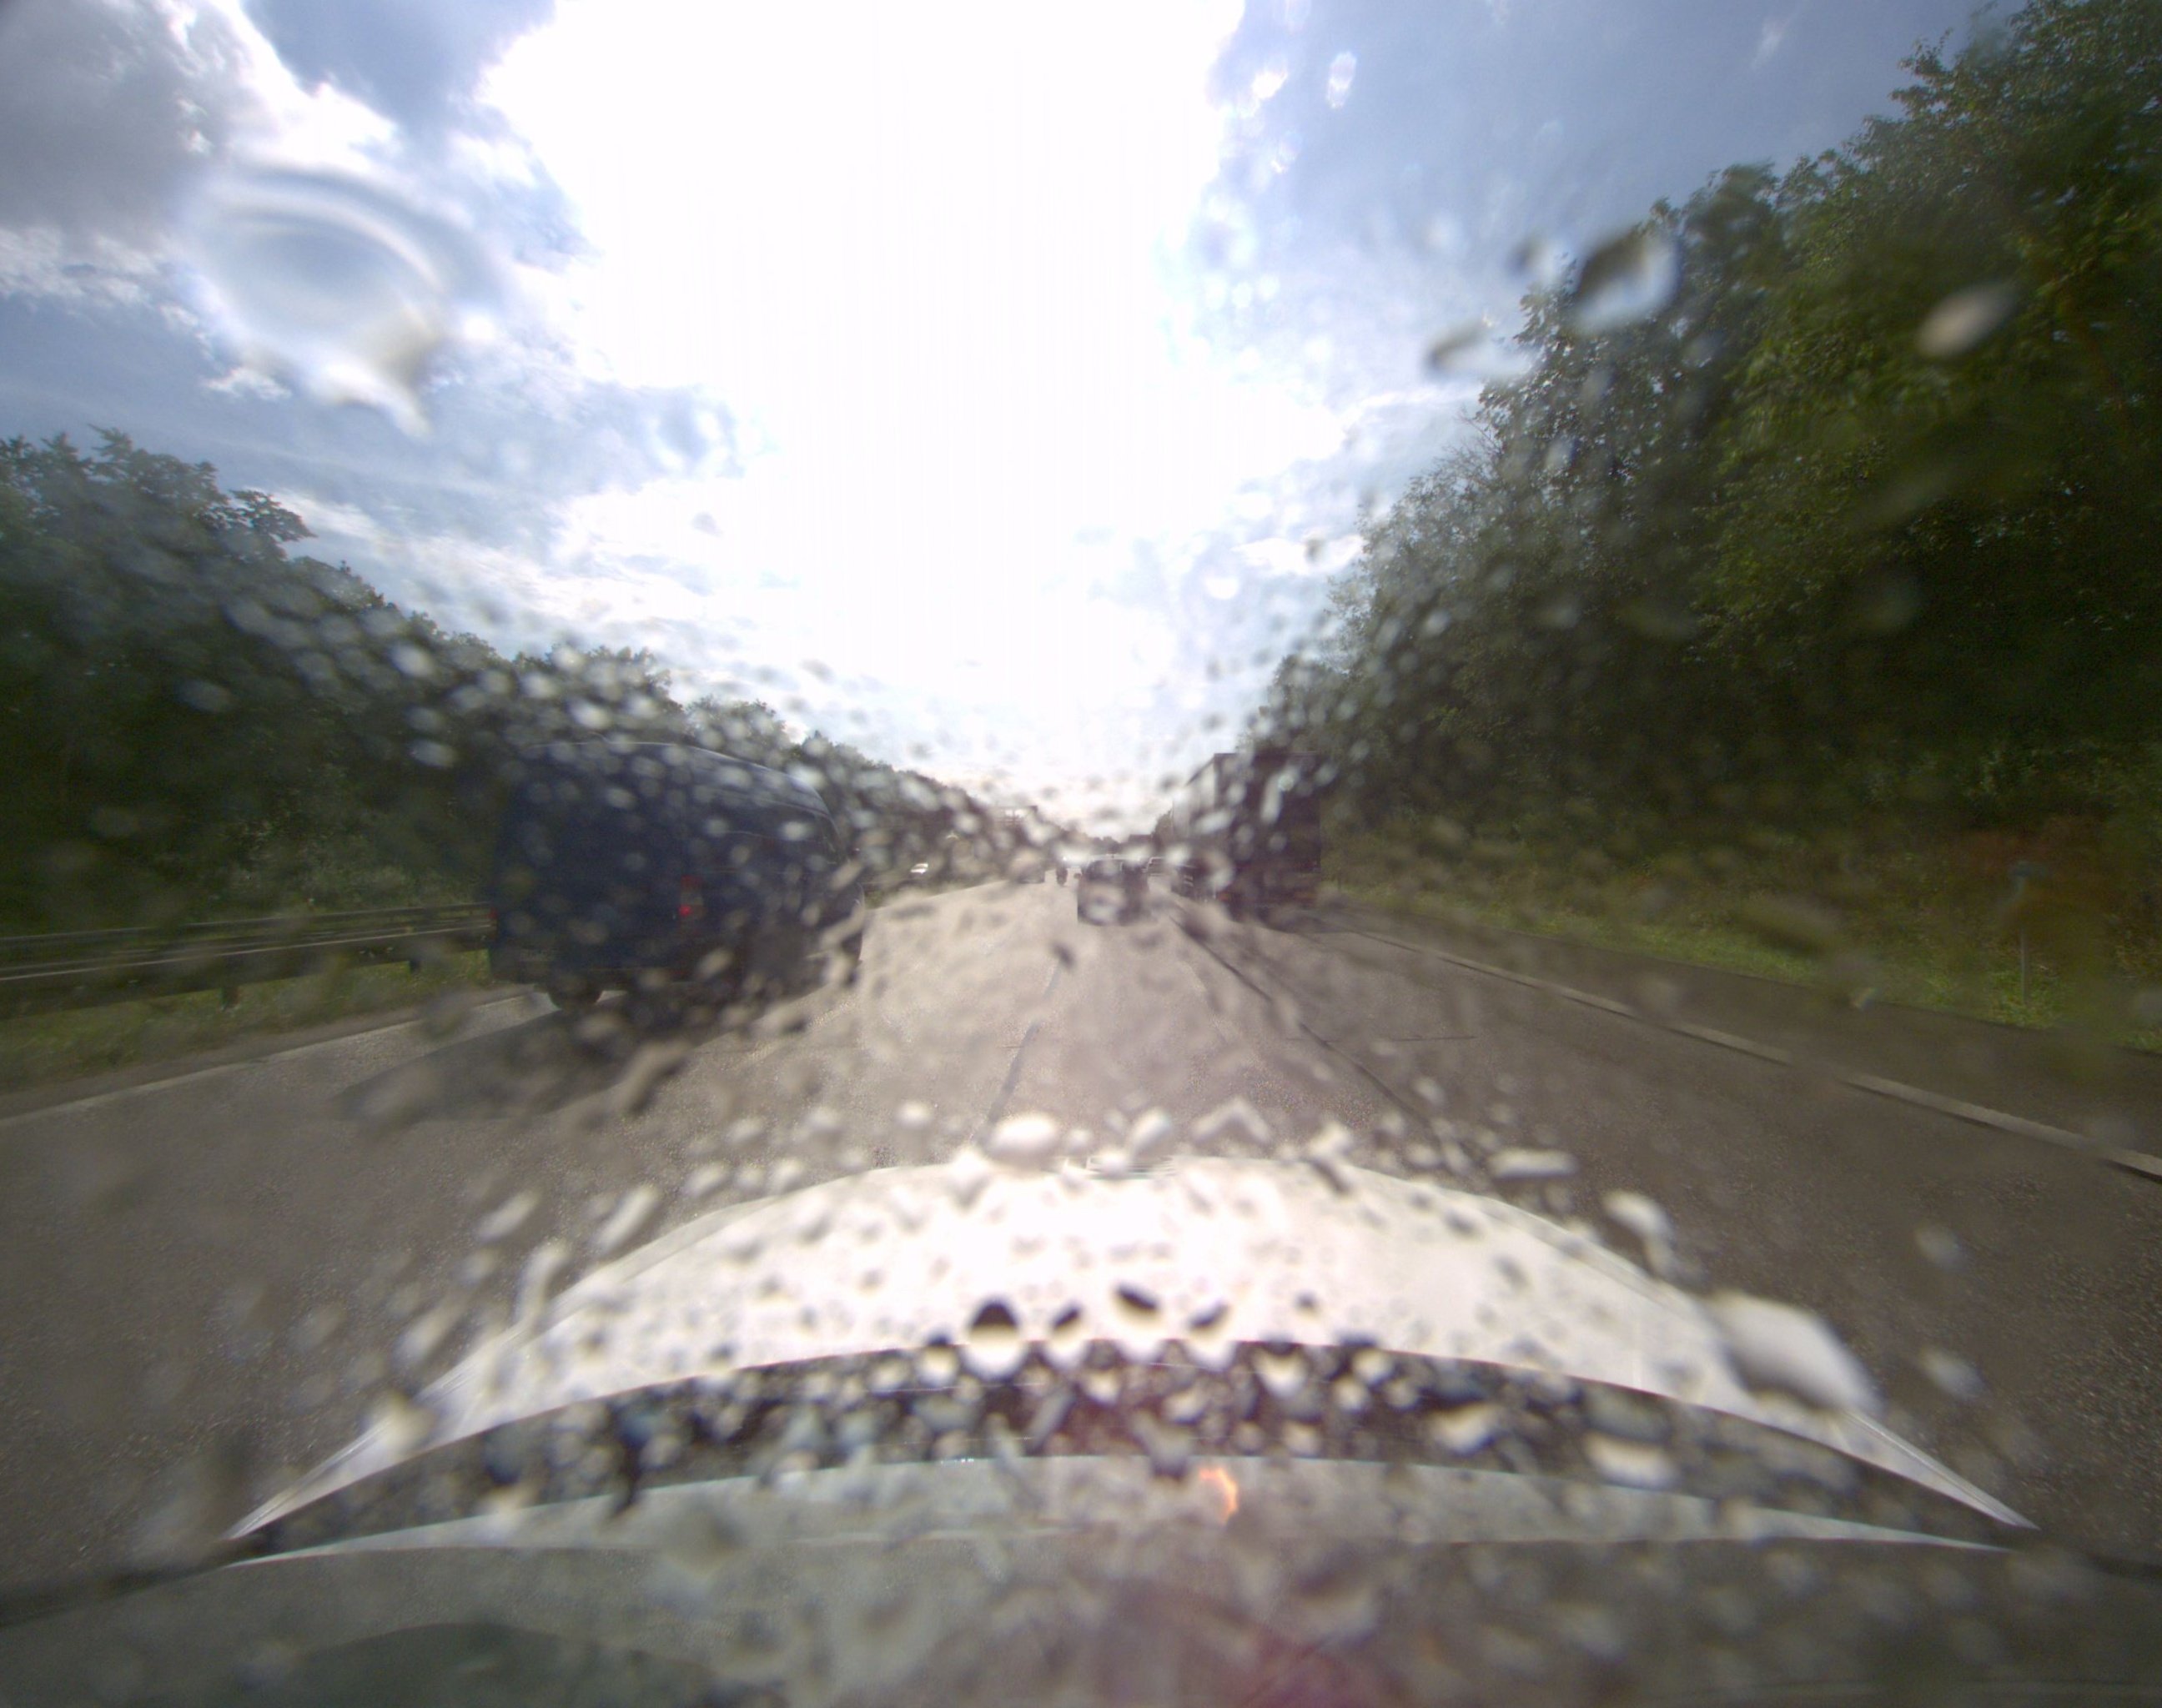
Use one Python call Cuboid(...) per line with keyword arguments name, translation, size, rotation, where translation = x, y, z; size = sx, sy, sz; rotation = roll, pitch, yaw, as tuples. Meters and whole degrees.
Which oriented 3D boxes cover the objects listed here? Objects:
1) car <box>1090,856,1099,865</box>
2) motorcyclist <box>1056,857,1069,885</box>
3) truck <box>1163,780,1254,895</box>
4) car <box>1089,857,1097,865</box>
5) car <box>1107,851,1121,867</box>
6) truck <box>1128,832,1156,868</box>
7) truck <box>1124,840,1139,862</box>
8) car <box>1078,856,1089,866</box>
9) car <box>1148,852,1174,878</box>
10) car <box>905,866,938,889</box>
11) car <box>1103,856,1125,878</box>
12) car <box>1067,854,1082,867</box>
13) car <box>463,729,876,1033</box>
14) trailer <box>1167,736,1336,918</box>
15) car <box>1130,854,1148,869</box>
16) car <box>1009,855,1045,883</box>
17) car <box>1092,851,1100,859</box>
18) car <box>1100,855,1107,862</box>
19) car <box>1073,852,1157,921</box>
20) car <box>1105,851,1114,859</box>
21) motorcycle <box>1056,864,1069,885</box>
Cuboid(name="car", translation=(3.246, 1.459, 192.708), size=(1.986, 2.014, 4.001), rotation=(-1, -1, 1))
Cuboid(name="motorcyclist", translation=(-0.975, 0.905, 42.906), size=(0.668, 1.442, 1.019), rotation=(-1, -1, -1))
Cuboid(name="truck", translation=(5.103, -0.608, 33.701), size=(3.040, 4.325, 5.889), rotation=(-1, 0, 2))
Cuboid(name="car", translation=(2.510, 1.398, 167.929), size=(1.669, 1.490, 3.437), rotation=(-1, 0, 1))
Cuboid(name="car", translation=(4.210, 0.613, 103.885), size=(1.669, 1.936, 3.774), rotation=(-1, 0, 1))
Cuboid(name="truck", translation=(7.717, -0.487, 103.667), size=(3.190, 4.404, 9.437), rotation=(-1, 0, 2))
Cuboid(name="truck", translation=(11.242, -0.579, 182.551), size=(2.871, 4.687, 12.663), rotation=(-1, -1, 2))
Cuboid(name="car", translation=(0.447, 1.234, 141.493), size=(1.669, 1.597, 3.437), rotation=(-1, 0, 1))
Cuboid(name="car", translation=(6.299, 0.880, 64.569), size=(1.842, 2.014, 4.089), rotation=(-1, -1, 2))
Cuboid(name="car", translation=(-14.740, 2.157, 75.549), size=(1.986, 2.014, 4.808), rotation=(-1, -1, 2))
Cuboid(name="car", translation=(3.198, 1.249, 79.308), size=(1.986, 2.014, 4.001), rotation=(-1, -1, 1))
Cuboid(name="car", translation=(-0.841, 0.868, 111.677), size=(1.886, 1.628, 4.196), rotation=(-1, 0, 1))
Cuboid(name="car", translation=(-4.348, 0.247, 10.051), size=(2.008, 2.648, 5.778), rotation=(-1, 0, 1))
Cuboid(name="trailer", translation=(4.816, -0.631, 26.547), size=(3.076, 4.312, 14.113), rotation=(-1, 0, 2))
Cuboid(name="car", translation=(6.119, 0.782, 85.948), size=(1.669, 1.490, 3.437), rotation=(-1, 0, 1))
Cuboid(name="car", translation=(-3.279, 0.870, 49.931), size=(1.752, 1.595, 4.332), rotation=(-1, 0, 1))
Cuboid(name="car", translation=(3.971, 0.337, 208.447), size=(1.986, 2.014, 4.001), rotation=(-1, -1, 1))
Cuboid(name="car", translation=(6.324, 1.285, 231.700), size=(1.986, 2.014, 4.001), rotation=(-1, -1, 1))
Cuboid(name="car", translation=(0.840, 0.759, 21.015), size=(1.908, 1.565, 4.315), rotation=(-1, 0, 1))
Cuboid(name="car", translation=(5.598, 0.274, 160.110), size=(1.626, 1.490, 3.437), rotation=(-1, 0, 1))
Cuboid(name="motorcycle", translation=(-0.977, 1.062, 42.955), size=(0.674, 1.087, 1.981), rotation=(0, 0, -1))
